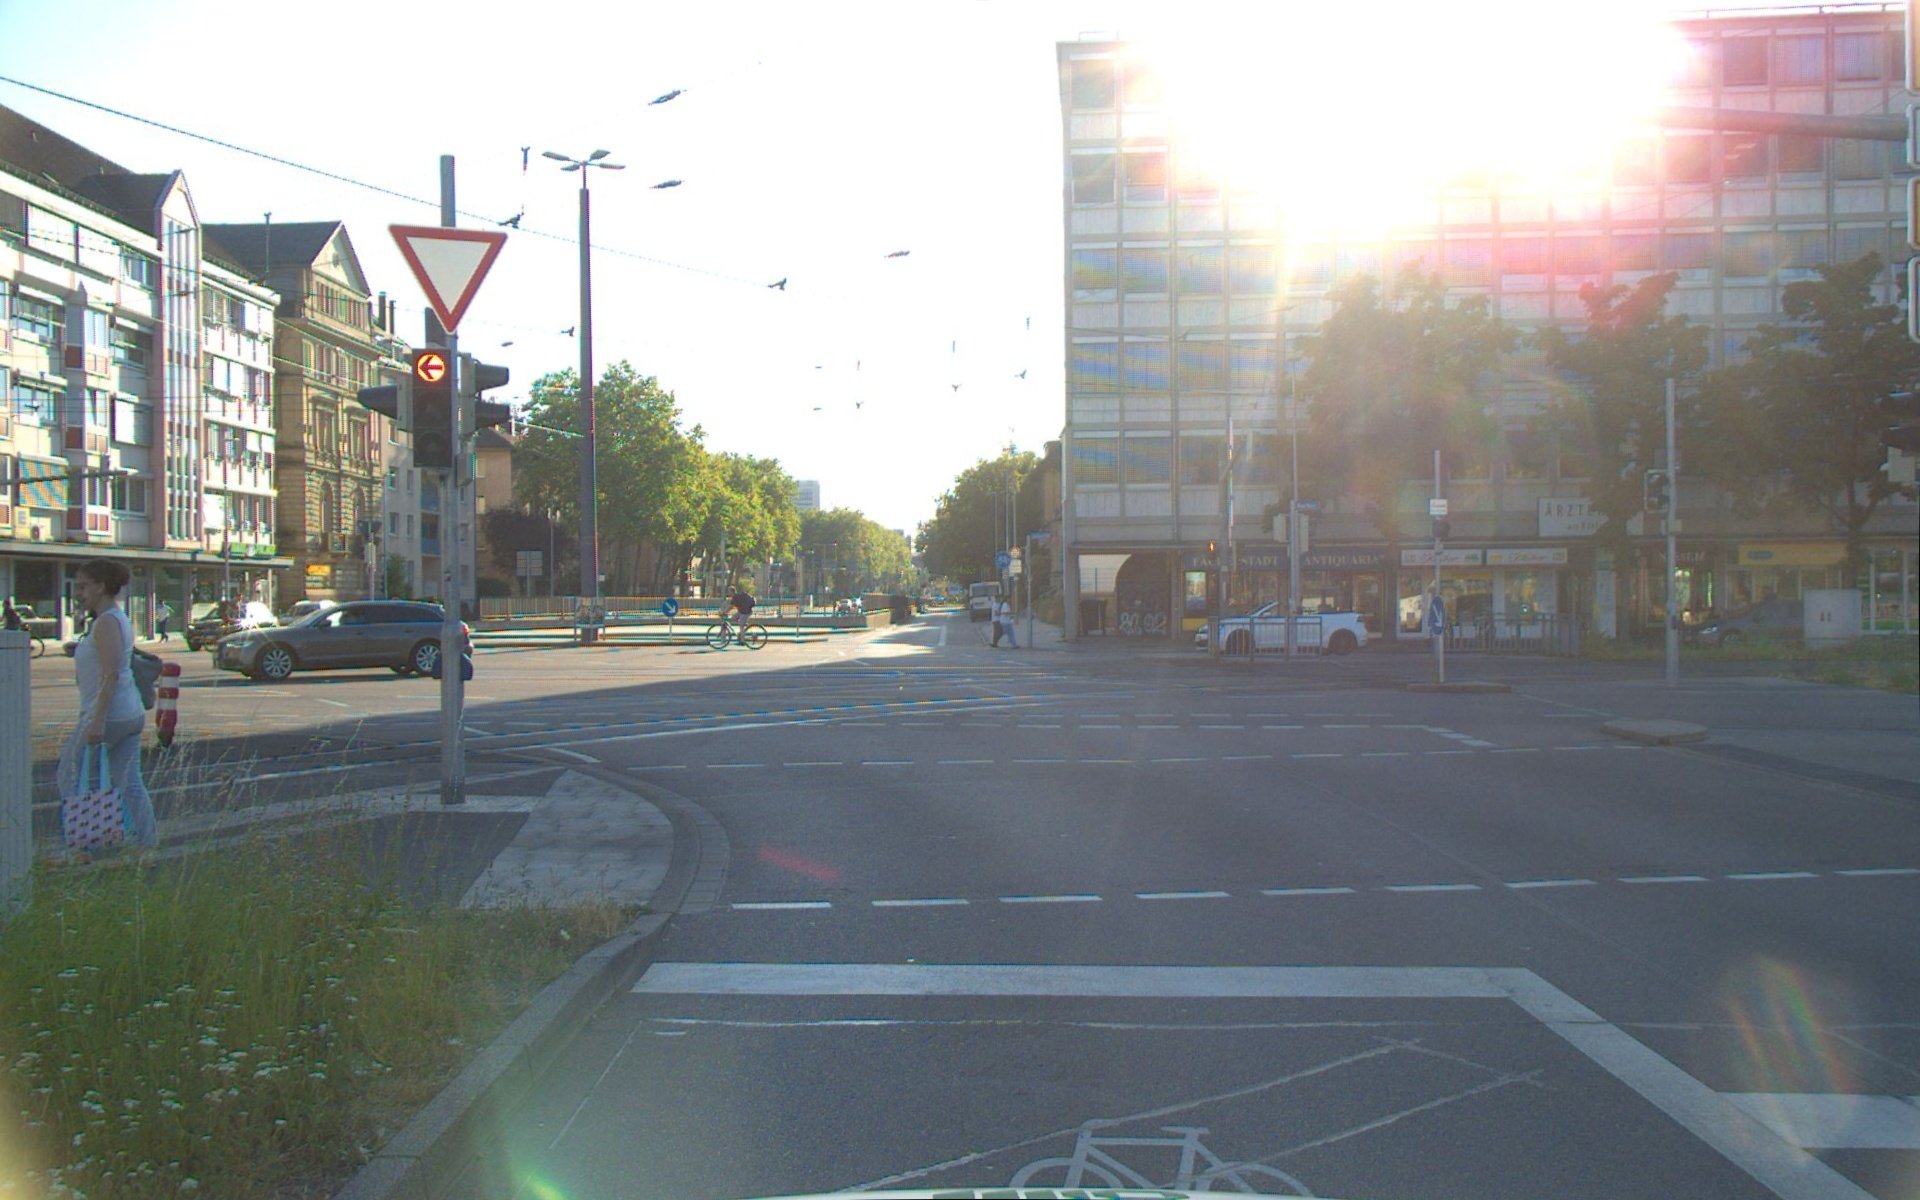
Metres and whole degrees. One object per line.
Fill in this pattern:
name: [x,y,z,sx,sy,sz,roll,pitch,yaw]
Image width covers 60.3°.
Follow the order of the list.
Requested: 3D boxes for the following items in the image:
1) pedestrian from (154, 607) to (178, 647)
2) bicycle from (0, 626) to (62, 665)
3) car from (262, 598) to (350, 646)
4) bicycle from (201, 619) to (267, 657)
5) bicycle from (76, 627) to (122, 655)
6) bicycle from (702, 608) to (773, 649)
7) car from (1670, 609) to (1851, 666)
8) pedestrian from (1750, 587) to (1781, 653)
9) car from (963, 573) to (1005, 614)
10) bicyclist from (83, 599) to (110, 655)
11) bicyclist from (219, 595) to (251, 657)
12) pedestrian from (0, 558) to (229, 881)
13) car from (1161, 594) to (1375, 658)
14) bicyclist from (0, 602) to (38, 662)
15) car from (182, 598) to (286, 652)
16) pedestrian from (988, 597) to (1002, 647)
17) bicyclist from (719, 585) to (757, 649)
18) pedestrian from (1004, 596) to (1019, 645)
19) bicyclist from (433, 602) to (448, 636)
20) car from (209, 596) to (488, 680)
pedestrian: [-32.293,1.102,67.284,0.613,1.633,0.704,0,0,1]
bicycle: [-28.574,1.389,50.281,2.131,1.157,0.658,-1,0,-5]
car: [-27.271,0.875,69.078,1.952,1.892,4.001,-1,0,2]
bicycle: [-23.954,1.254,54.551,1.919,1.222,0.610,0,0,5]
bicycle: [-29.603,1.401,56.873,0.586,0.931,1.836,-1,0,1]
bicycle: [-6.263,0.806,46.694,1.934,1.117,0.677,-1,0,-5]
car: [21.451,0.993,44.451,3.904,1.445,2.001,0,0,2]
pedestrian: [25.310,0.621,51.952,0.692,2.049,0.558,0,0,2]
car: [1.487,-0.371,104.532,2.435,2.434,5.933,-2,0,-1]
bicyclist: [-29.685,0.912,56.865,0.580,1.894,0.642,-1,0,1]
bicyclist: [-23.925,0.847,54.561,0.760,2.049,0.605,0,0,5]
pedestrian: [-4.442,0.603,8.718,0.860,1.625,0.655,-1,0,-1]
car: [7.512,0.617,40.644,4.823,1.504,1.998,0,0,-4]
bicyclist: [-28.632,0.967,50.241,0.881,1.783,0.650,-1,0,-5]
car: [-26.791,0.890,61.206,1.952,1.892,4.001,-1,0,2]
pedestrian: [1.092,0.690,51.583,0.359,1.534,0.542,-1,0,-7]
bicyclist: [-6.266,0.481,46.697,1.019,1.769,0.677,0,0,-5]
pedestrian: [1.631,0.656,52.423,0.359,1.534,0.542,-1,0,-7]
bicyclist: [-28.948,1.069,92.148,0.580,1.894,0.642,-1,0,1]
car: [-12.073,0.705,32.782,4.879,1.504,1.975,-1,0,-35]
